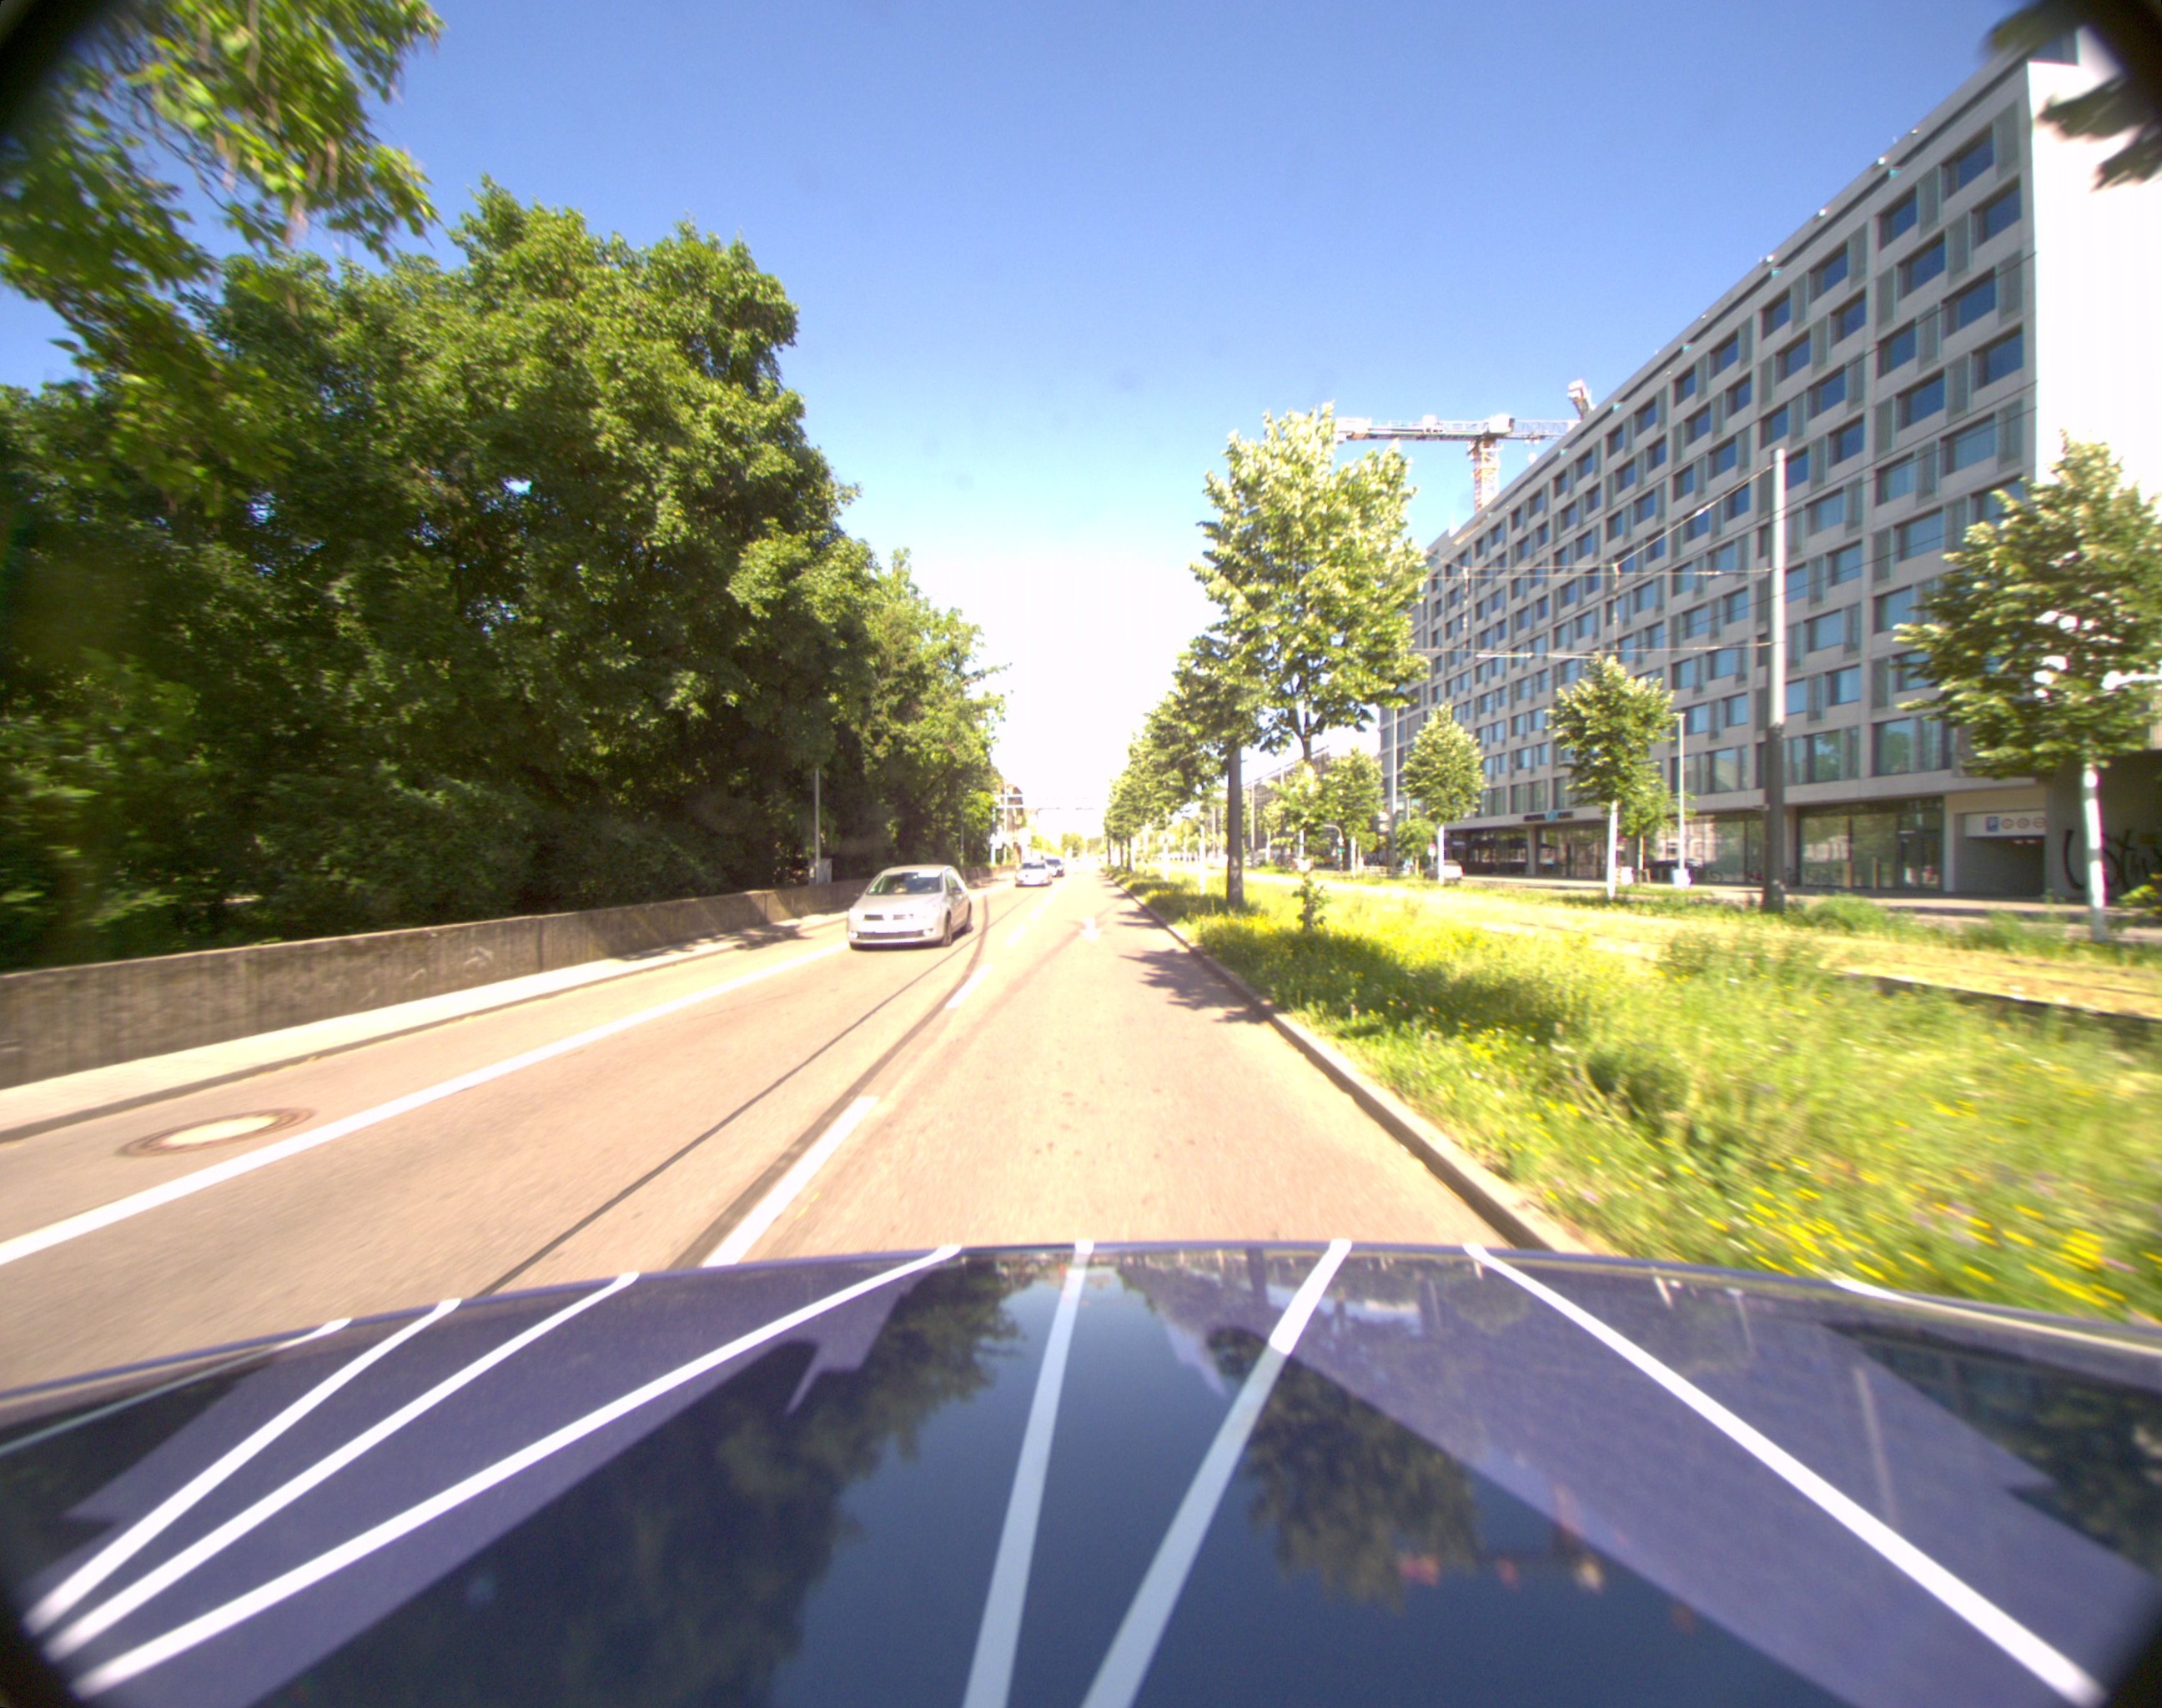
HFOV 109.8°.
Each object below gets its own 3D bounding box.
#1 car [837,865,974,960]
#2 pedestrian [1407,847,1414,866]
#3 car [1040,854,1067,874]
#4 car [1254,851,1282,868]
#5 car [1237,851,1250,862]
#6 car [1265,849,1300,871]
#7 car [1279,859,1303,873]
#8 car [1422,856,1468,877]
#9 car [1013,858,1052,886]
[{"bbox_3d":[-3.197,1.007,14.626,1.703,1.465,3.999,-1,0,0],"label":"car"},{"bbox_3d":[31.034,0.228,71.579,0.509,1.829,0.515,-1,1,12],"label":"pedestrian"},{"bbox_3d":[-2.132,0.763,59.290,1.999,1.493,3.999,0,0,-2],"label":"car"},{"bbox_3d":[18.125,0.491,73.916,1.729,1.543,4.000,-1,0,0],"label":"car"},{"bbox_3d":[26.112,0.425,122.130,1.776,1.664,3.893,-1,0,14],"label":"car"},{"bbox_3d":[17.726,0.520,66.943,1.998,1.808,4.285,-1,0,1],"label":"car"},{"bbox_3d":[24.633,1.350,89.190,1.827,1.499,3.813,-1,0,0],"label":"car"},{"bbox_3d":[28.812,0.994,60.322,1.865,1.541,3.772,-1,0,0],"label":"car"},{"bbox_3d":[-2.603,0.957,41.744,1.839,1.415,3.999,-1,0,0],"label":"car"}]
